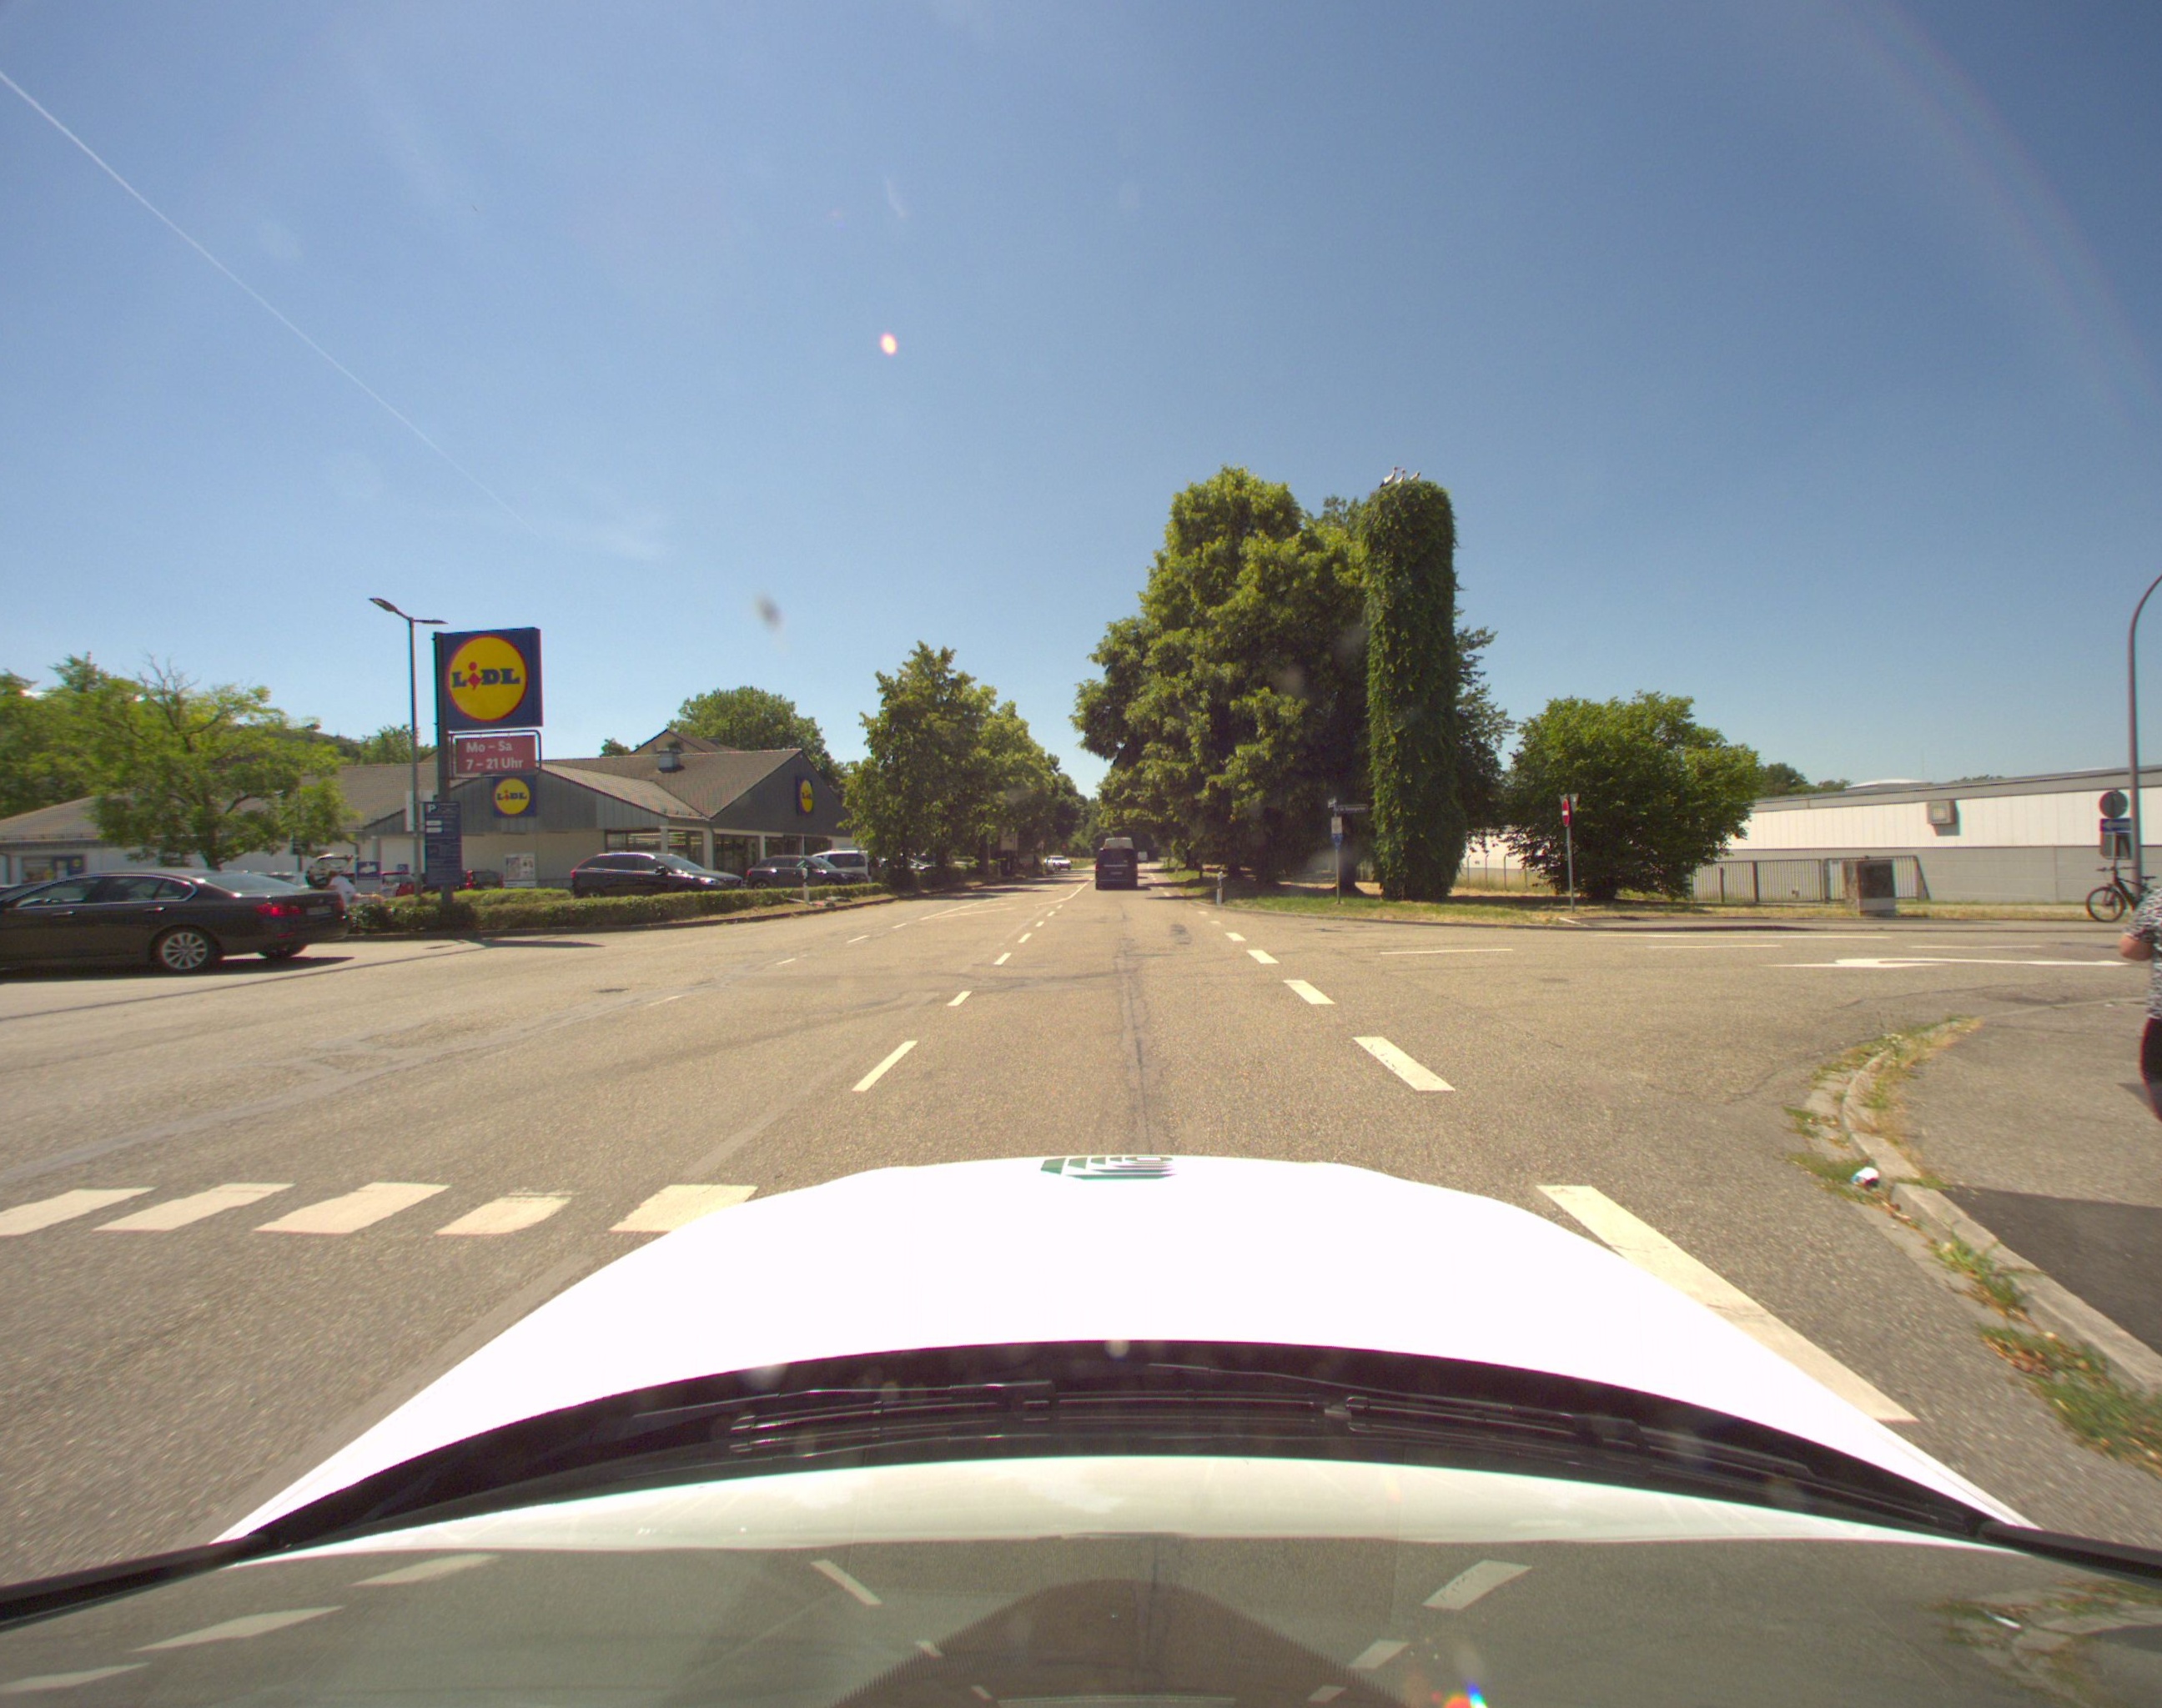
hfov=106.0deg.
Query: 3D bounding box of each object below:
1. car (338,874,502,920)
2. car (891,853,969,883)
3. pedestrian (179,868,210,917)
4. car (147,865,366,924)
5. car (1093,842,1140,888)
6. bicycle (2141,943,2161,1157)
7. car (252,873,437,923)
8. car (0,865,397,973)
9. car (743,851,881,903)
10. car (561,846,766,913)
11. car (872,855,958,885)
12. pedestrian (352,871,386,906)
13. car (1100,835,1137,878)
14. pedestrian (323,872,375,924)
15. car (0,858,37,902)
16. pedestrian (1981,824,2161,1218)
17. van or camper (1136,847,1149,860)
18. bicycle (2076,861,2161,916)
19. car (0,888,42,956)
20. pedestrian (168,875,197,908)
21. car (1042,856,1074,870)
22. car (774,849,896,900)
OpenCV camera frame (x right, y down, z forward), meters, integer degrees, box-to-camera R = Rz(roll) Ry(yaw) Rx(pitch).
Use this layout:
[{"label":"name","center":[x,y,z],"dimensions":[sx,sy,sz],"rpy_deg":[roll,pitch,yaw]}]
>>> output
[{"label":"car","center":[-23.430,1.491,28.989],"dimensions":[4.299,1.530,1.827],"rpy_deg":[0,-1,-1]},{"label":"car","center":[-9.337,0.874,50.640],"dimensions":[4.384,1.776,2.073],"rpy_deg":[0,0,2]},{"label":"pedestrian","center":[-33.306,1.417,30.594],"dimensions":[0.762,1.806,0.758],"rpy_deg":[-1,-1,42]},{"label":"car","center":[-24.493,1.171,24.342],"dimensions":[4.299,1.655,2.113],"rpy_deg":[0,-1,-1]},{"label":"car","center":[1.635,0.487,37.349],"dimensions":[1.986,1.952,5.007],"rpy_deg":[1,0,2]},{"label":"bicycle","center":[4.509,0.847,2.790],"dimensions":[0.374,0.912,1.607],"rpy_deg":[-1,0,26]},{"label":"car","center":[-24.029,1.416,26.700],"dimensions":[4.299,1.530,1.827],"rpy_deg":[0,-1,-1]},{"label":"car","center":[-13.330,0.874,11.891],"dimensions":[4.683,1.400,1.928],"rpy_deg":[0,-1,-16]},{"label":"car","center":[-9.926,0.860,30.220],"dimensions":[4.359,1.845,2.108],"rpy_deg":[0,-1,9]},{"label":"car","center":[-11.562,0.698,22.745],"dimensions":[4.682,1.762,2.102],"rpy_deg":[0,-1,7]},{"label":"car","center":[-9.267,0.907,45.763],"dimensions":[4.384,1.620,1.896],"rpy_deg":[0,0,1]},{"label":"pedestrian","center":[-31.915,1.541,36.518],"dimensions":[0.796,1.514,0.797],"rpy_deg":[0,-1,-8]},{"label":"car","center":[2.478,0.171,52.921],"dimensions":[2.067,2.702,4.674],"rpy_deg":[1,0,6]},{"label":"pedestrian","center":[-21.804,1.290,24.274],"dimensions":[0.891,1.483,0.803],"rpy_deg":[0,-1,-20]},{"label":"car","center":[-39.741,0.923,28.247],"dimensions":[1.786,1.601,4.003],"rpy_deg":[0,-1,3]},{"label":"pedestrian","center":[4.342,0.598,3.216],"dimensions":[0.762,1.421,0.873],"rpy_deg":[-1,0,25]},{"label":"van or camper","center":[13.955,-0.044,184.911],"dimensions":[2.624,2.929,5.205],"rpy_deg":[0,-1,-1]},{"label":"bicycle","center":[21.661,0.705,16.746],"dimensions":[1.685,1.097,0.468],"rpy_deg":[-1,-1,5]},{"label":"car","center":[-24.092,1.406,16.194],"dimensions":[4.229,1.369,1.766],"rpy_deg":[-1,-1,-6]},{"label":"pedestrian","center":[-43.335,1.805,39.283],"dimensions":[0.672,1.580,0.634],"rpy_deg":[0,-1,0]},{"label":"car","center":[-2.568,0.993,90.473],"dimensions":[2.102,1.588,4.442],"rpy_deg":[1,0,-22]},{"label":"car","center":[-9.887,0.828,32.939],"dimensions":[4.341,1.980,1.905],"rpy_deg":[0,-1,0]}]
